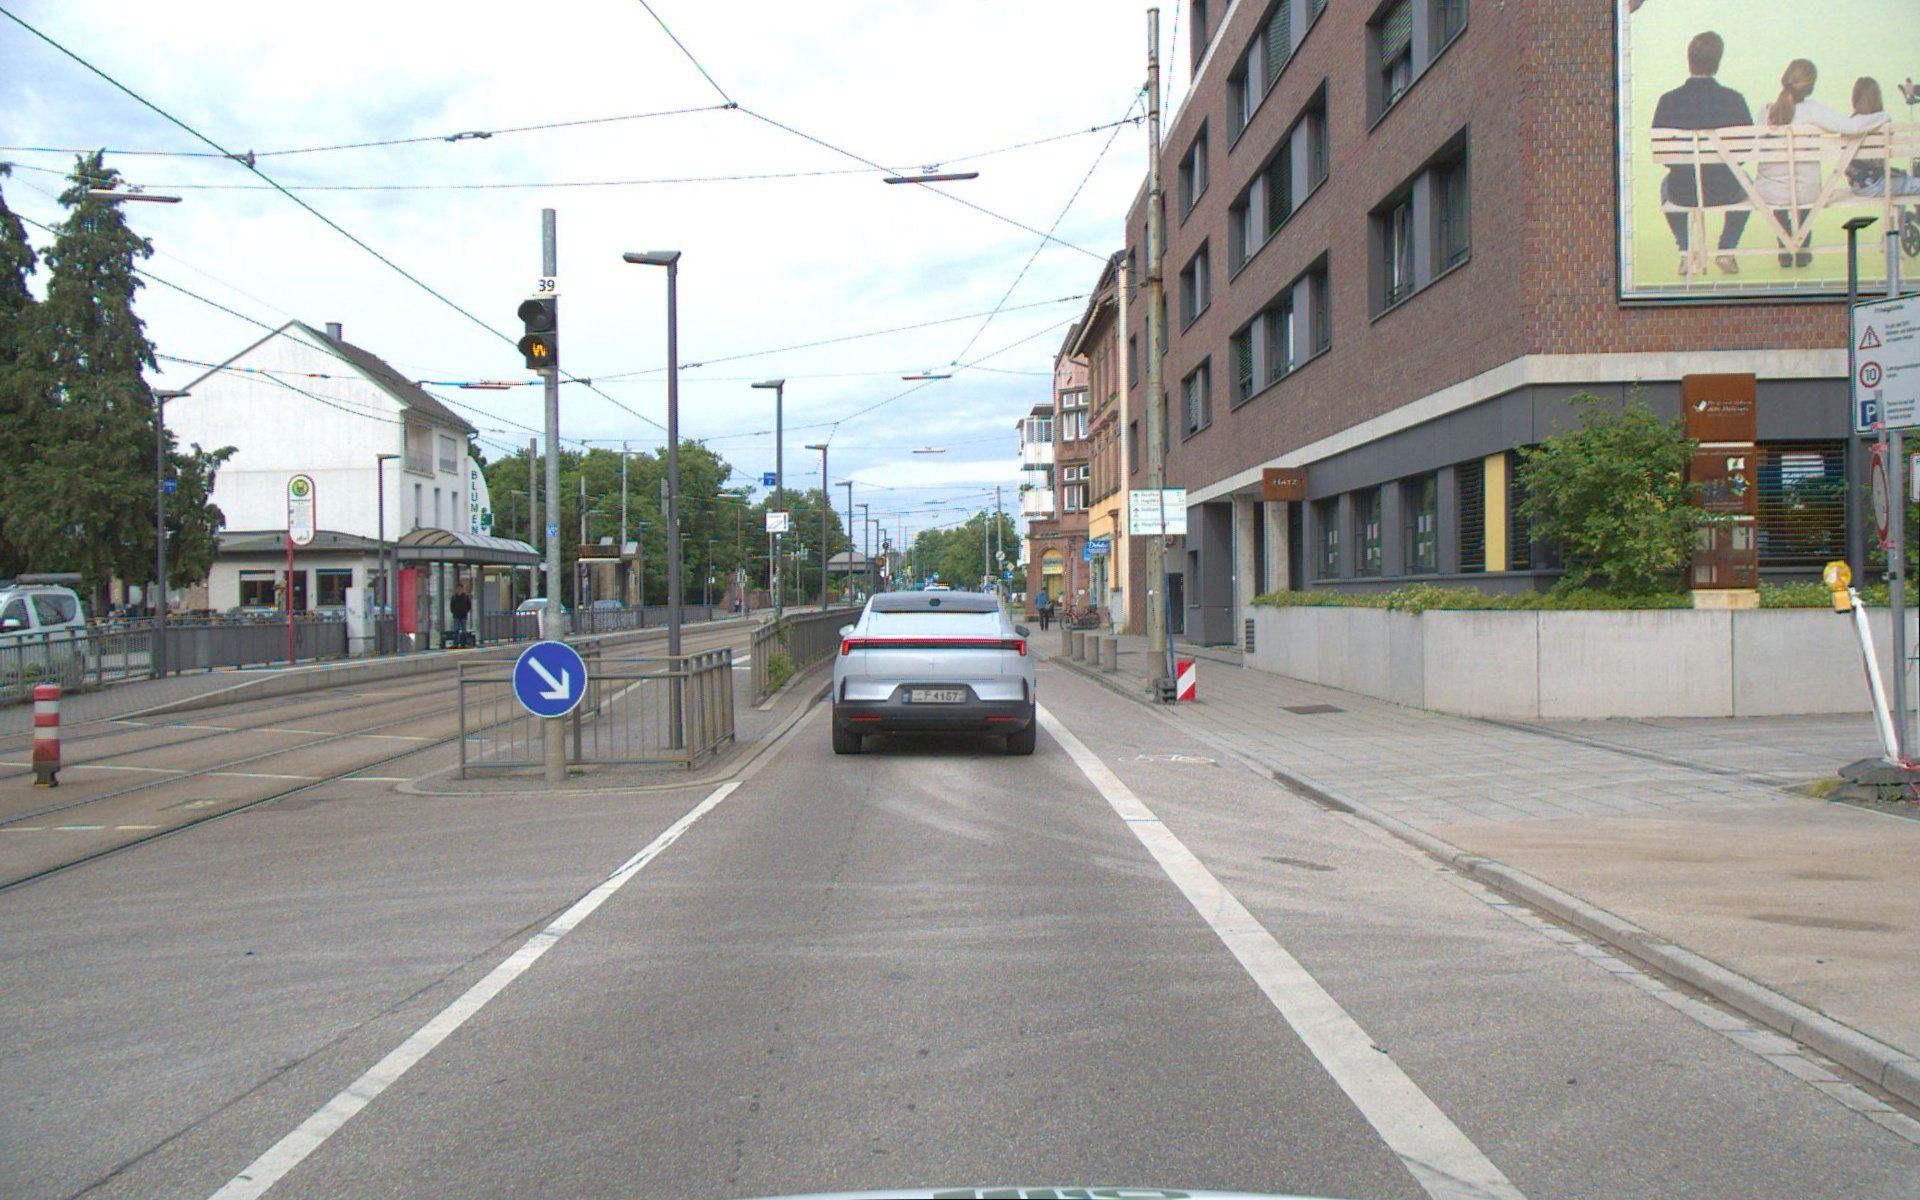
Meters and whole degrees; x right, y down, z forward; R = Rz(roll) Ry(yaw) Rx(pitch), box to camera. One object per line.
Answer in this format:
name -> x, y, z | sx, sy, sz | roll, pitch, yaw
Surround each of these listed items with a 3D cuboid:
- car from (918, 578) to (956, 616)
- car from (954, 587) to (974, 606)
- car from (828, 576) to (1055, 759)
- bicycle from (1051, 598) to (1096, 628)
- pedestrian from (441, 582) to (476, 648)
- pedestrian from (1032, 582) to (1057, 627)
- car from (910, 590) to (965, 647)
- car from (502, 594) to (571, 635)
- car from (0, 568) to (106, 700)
car -> -1.538, -0.170, 109.275 | 2.182, 2.444, 5.118 | 0, 0, -4
car -> 0.523, -0.436, 228.499 | 2.750, 2.549, 5.721 | 0, 0, -1
car -> -0.313, 0.614, 16.592 | 1.960, 1.608, 3.995 | 0, -1, -5
bicycle -> 4.746, 0.546, 69.141 | 1.742, 1.149, 0.642 | -3, 0, -2
pedestrian -> -13.115, 0.388, 43.292 | 0.602, 1.694, 0.698 | 0, -1, 12
pedestrian -> 3.615, 0.194, 70.830 | 0.940, 1.882, 0.976 | -3, 1, 5
car -> -0.707, 0.575, 51.555 | 1.647, 1.717, 3.823 | 0, 0, -1
car -> -17.254, 0.551, 67.527 | 1.827, 1.512, 3.999 | -3, 0, -2
car -> -15.647, 0.544, 26.427 | 1.847, 2.023, 4.522 | -1, 0, -4
